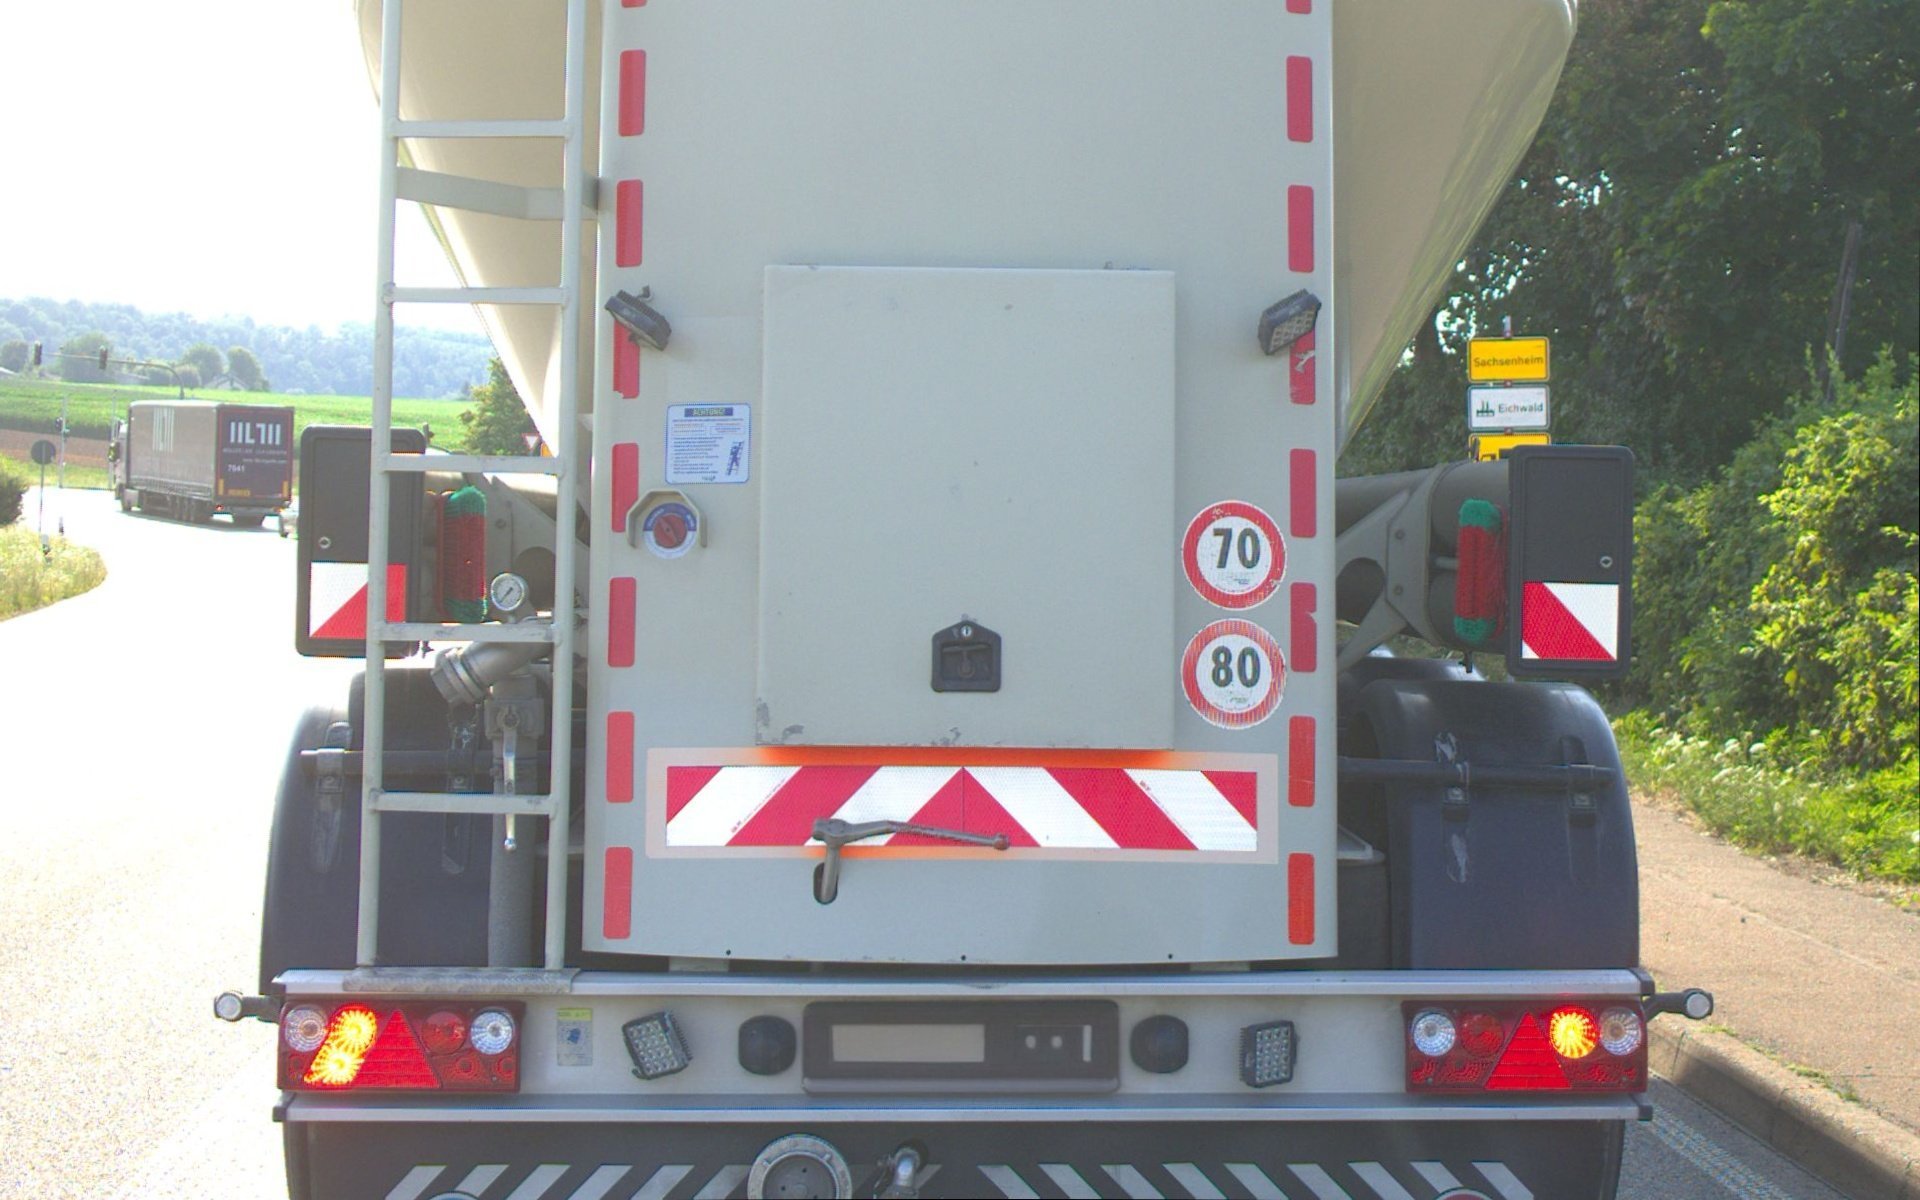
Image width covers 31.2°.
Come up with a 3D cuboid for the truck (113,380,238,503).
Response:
[{"bbox_3d":[-29.096,-5.847,127.336,3.375,4.335,5.707,2,1,-24],"label":"truck"}]

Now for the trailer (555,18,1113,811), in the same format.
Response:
[{"bbox_3d":[-0.757,-1.189,26.196,2.955,4.300,14.176,2,1,0],"label":"trailer"}]

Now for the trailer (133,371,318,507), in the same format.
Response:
[{"bbox_3d":[-25.711,-5.537,119.604,3.375,4.335,14.298,2,1,-24],"label":"trailer"}]

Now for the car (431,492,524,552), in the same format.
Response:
[{"bbox_3d":[-11.480,-1.860,81.587,1.580,1.336,3.427,2,1,-18],"label":"car"}]

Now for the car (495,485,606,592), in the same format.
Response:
[{"bbox_3d":[-8.043,-1.218,67.245,1.861,2.007,3.720,1,1,-11],"label":"car"}]

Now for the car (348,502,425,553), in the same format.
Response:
[{"bbox_3d":[-16.001,-2.033,95.776,1.580,1.336,3.427,2,1,-18],"label":"car"}]

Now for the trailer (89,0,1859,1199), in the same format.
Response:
[{"bbox_3d":[-0.202,-0.928,10.639,2.909,3.992,9.931,1,1,-3],"label":"trailer"}]

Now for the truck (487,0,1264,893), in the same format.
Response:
[{"bbox_3d":[-0.433,-0.934,15.082,2.909,3.992,4.060,1,1,-3],"label":"truck"}]

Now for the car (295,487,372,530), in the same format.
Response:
[{"bbox_3d":[-18.626,-2.731,102.099,1.769,1.201,3.427,2,1,-18],"label":"car"}]

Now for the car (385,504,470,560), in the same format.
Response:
[{"bbox_3d":[-13.615,-1.741,87.827,1.580,1.336,3.427,2,1,-18],"label":"car"}]
